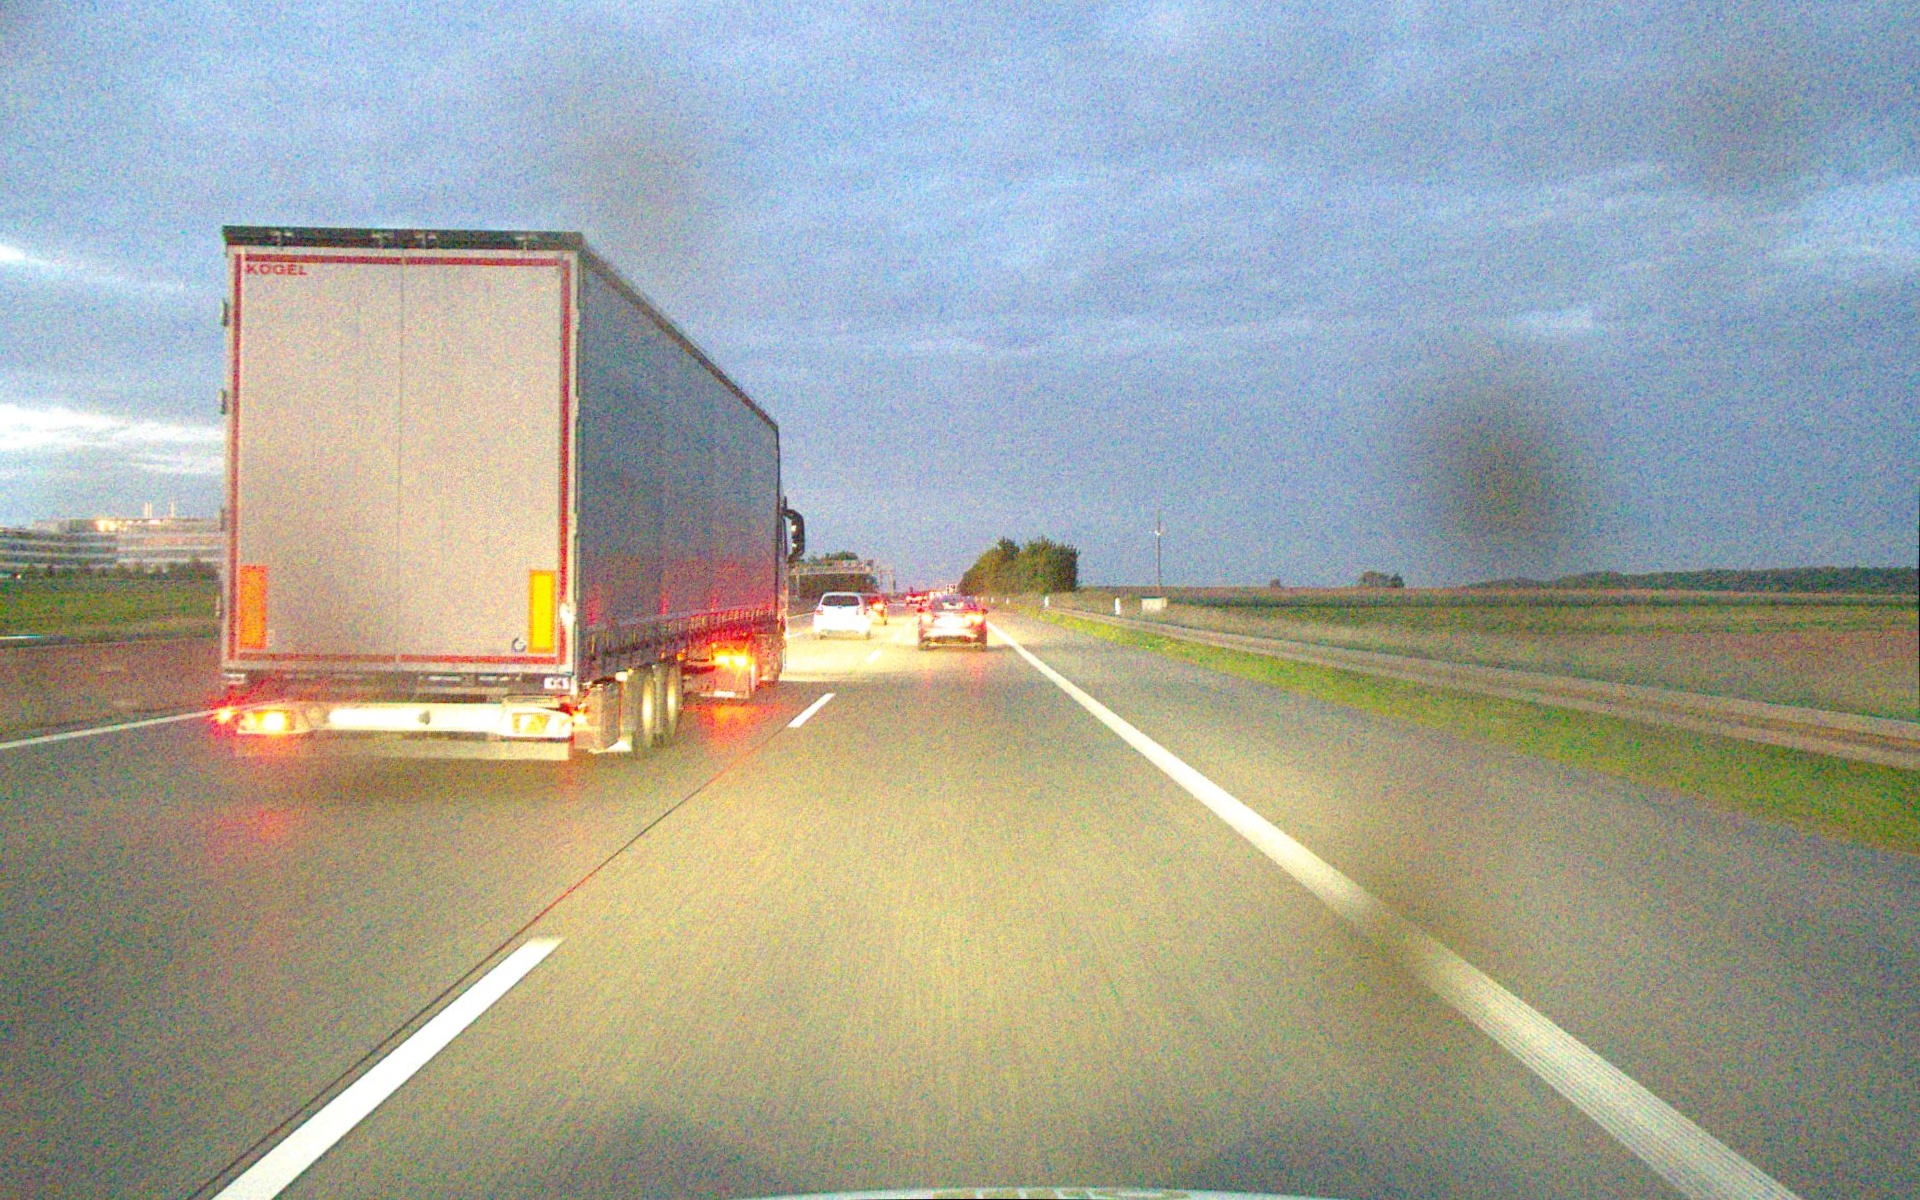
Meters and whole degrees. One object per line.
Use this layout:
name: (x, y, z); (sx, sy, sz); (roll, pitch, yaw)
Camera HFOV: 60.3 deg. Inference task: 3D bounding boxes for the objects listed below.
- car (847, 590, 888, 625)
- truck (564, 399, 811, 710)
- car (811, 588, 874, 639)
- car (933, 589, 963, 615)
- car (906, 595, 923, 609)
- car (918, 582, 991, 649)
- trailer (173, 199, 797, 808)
car: (-4.213, 0.352, 75.801); (1.688, 1.497, 4.725); (1, 0, -1)
truck: (-3.926, -0.600, 25.201); (2.720, 4.164, 6.103); (0, 0, 0)
car: (-3.771, 0.423, 53.814); (1.708, 1.551, 4.414); (1, 0, 0)
car: (-0.805, 0.140, 105.085); (1.842, 1.579, 3.999); (1, 0, -1)
car: (-5.164, 0.262, 188.393); (1.842, 1.579, 3.999); (1, 0, -1)
car: (-0.164, 0.409, 44.739); (1.842, 1.672, 3.999); (1, 0, -1)
trailer: (-3.960, -0.631, 18.564); (2.736, 4.157, 14.525); (0, 0, 0)
